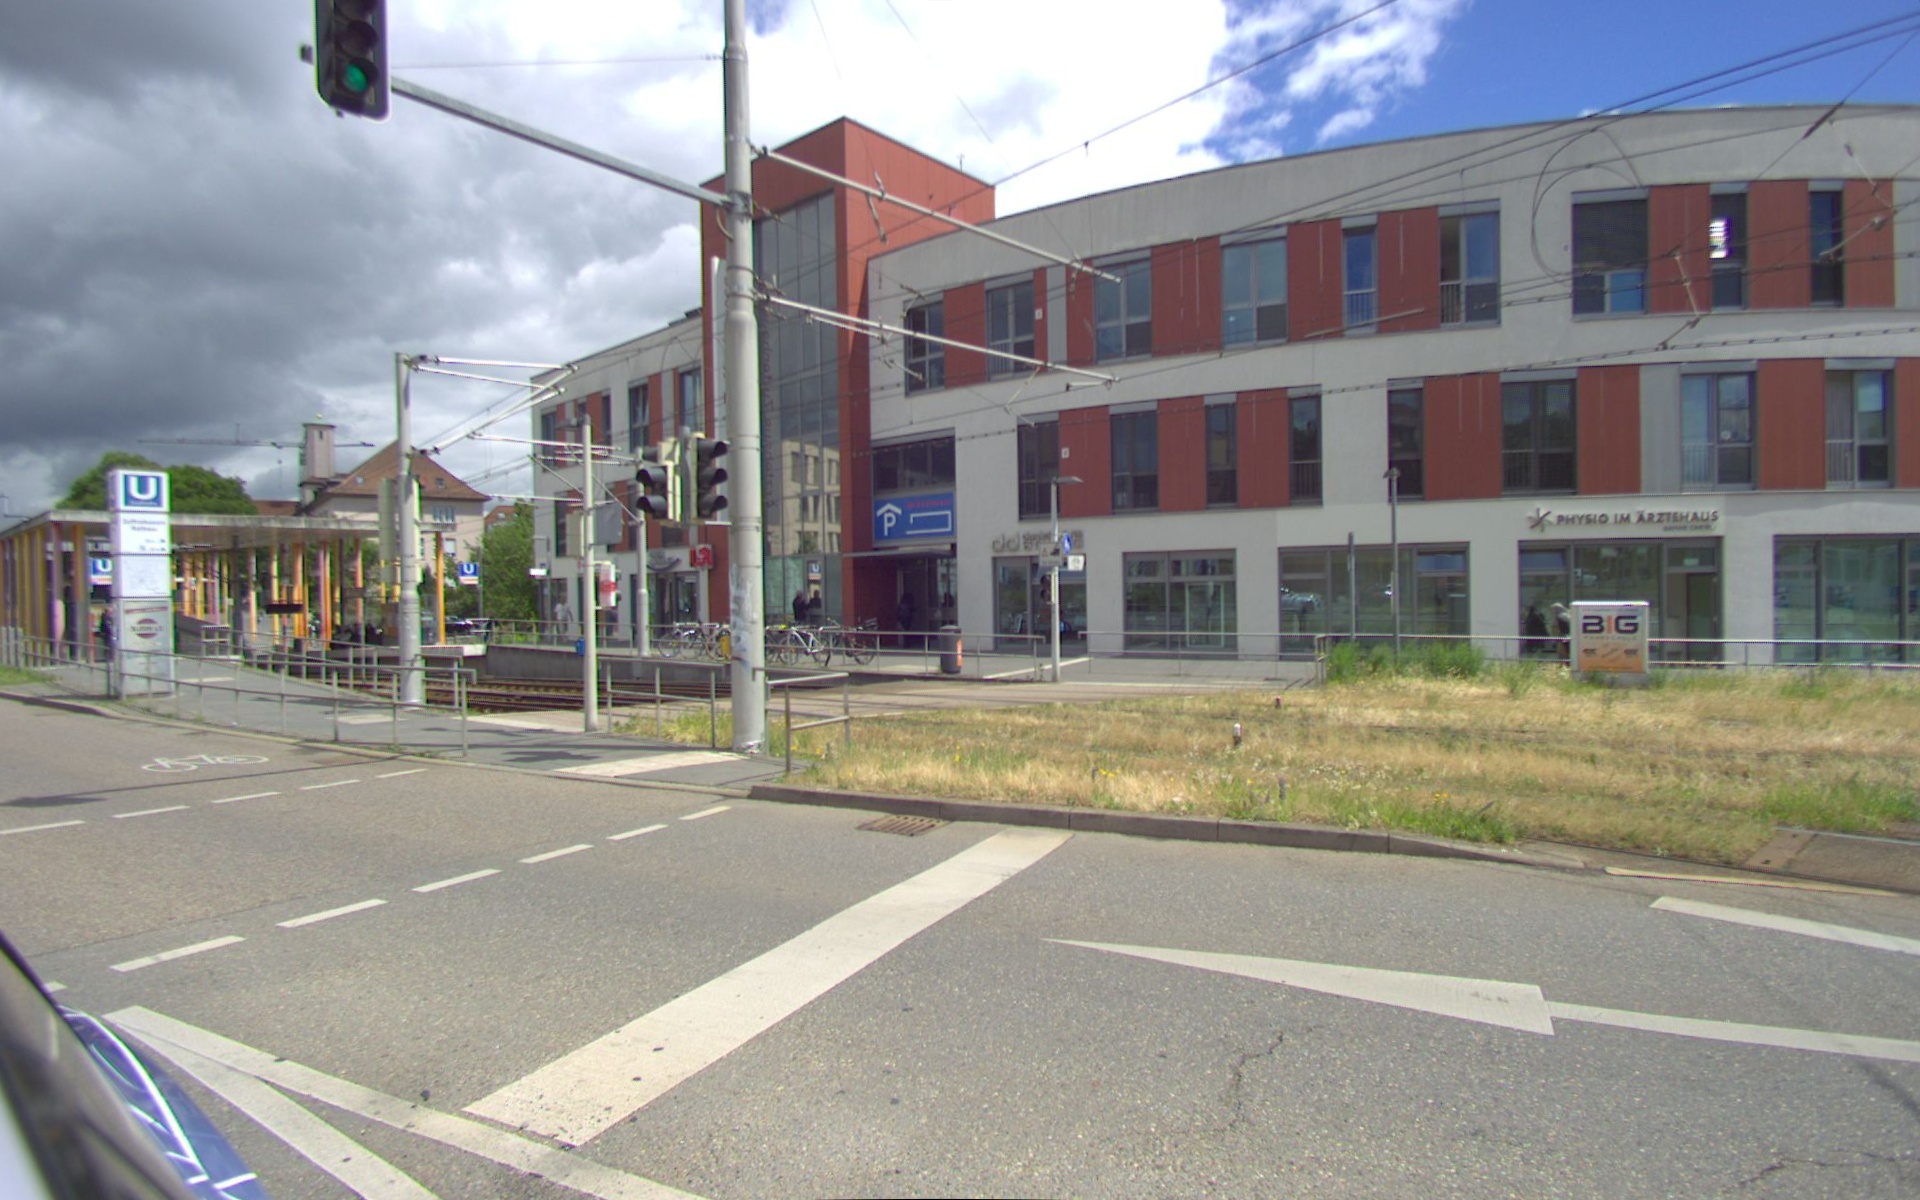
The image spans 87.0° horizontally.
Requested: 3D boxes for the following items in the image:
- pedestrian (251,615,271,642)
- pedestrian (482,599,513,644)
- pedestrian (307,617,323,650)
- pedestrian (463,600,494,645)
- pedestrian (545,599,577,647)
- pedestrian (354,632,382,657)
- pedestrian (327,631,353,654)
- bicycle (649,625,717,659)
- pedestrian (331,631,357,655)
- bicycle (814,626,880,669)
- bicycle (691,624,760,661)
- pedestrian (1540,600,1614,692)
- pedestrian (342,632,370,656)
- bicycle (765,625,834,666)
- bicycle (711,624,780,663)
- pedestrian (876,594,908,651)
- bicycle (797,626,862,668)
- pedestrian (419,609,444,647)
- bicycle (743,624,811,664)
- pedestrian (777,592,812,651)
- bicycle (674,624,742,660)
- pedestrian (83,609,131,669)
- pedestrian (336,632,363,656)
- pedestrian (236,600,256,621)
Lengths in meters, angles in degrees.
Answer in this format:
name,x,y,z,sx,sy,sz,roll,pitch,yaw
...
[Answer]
name,x,y,z,sx,sy,sz,roll,pitch,yaw
pedestrian,-54.121,2.211,78.336,1.112,2.029,1.180,0,-2,-44
pedestrian,-20.770,0.970,45.442,1.105,1.983,0.853,0,-1,39
pedestrian,-39.421,2.031,61.855,0.773,2.029,0.610,-2,-1,34
pedestrian,-21.362,0.991,44.879,1.105,1.983,0.853,0,-1,39
pedestrian,-16.720,0.961,42.396,1.106,1.983,0.852,0,-1,43
pedestrian,-28.549,2.139,48.786,0.886,1.143,0.931,-2,-1,42
pedestrian,-31.386,2.137,51.231,0.886,1.143,0.931,-2,-1,42
bicycle,-7.874,1.194,28.825,1.834,0.888,0.455,0,0,-41
pedestrian,-30.805,2.146,50.614,0.886,1.143,0.931,-2,-1,42
bicycle,-2.736,1.141,24.666,0.428,0.959,1.716,-1,0,43
bicycle,-6.369,1.154,27.578,1.835,0.929,0.455,0,0,-42
pedestrian,13.699,1.009,22.497,1.102,1.983,0.863,0,-1,5
pedestrian,-29.398,2.139,49.261,0.886,1.143,0.931,-2,-1,42
bicycle,-4.054,1.141,25.696,0.454,0.942,1.837,-1,0,43
bicycle,-5.696,1.141,26.979,1.836,0.946,0.455,0,0,-45
pedestrian,-2.091,0.675,30.921,0.921,1.711,0.790,0,-1,-6
bicycle,-3.223,1.140,25.069,0.428,0.965,1.716,-1,0,43
pedestrian,-27.998,1.490,53.593,0.852,1.983,1.107,1,-1,-44
bicycle,-4.738,1.130,26.331,0.454,0.970,1.837,-1,0,43
pedestrian,-5.311,0.668,32.476,0.856,1.859,0.876,0,1,13
bicycle,-6.981,1.158,28.137,1.835,0.939,0.455,0,0,-41
pedestrian,-28.268,1.266,33.531,0.864,1.929,1.090,0,-1,42
pedestrian,-30.115,2.142,49.896,0.886,1.143,0.931,-2,-1,42
pedestrian,-69.396,0.992,98.360,1.429,2.029,1.972,1,-1,-31
